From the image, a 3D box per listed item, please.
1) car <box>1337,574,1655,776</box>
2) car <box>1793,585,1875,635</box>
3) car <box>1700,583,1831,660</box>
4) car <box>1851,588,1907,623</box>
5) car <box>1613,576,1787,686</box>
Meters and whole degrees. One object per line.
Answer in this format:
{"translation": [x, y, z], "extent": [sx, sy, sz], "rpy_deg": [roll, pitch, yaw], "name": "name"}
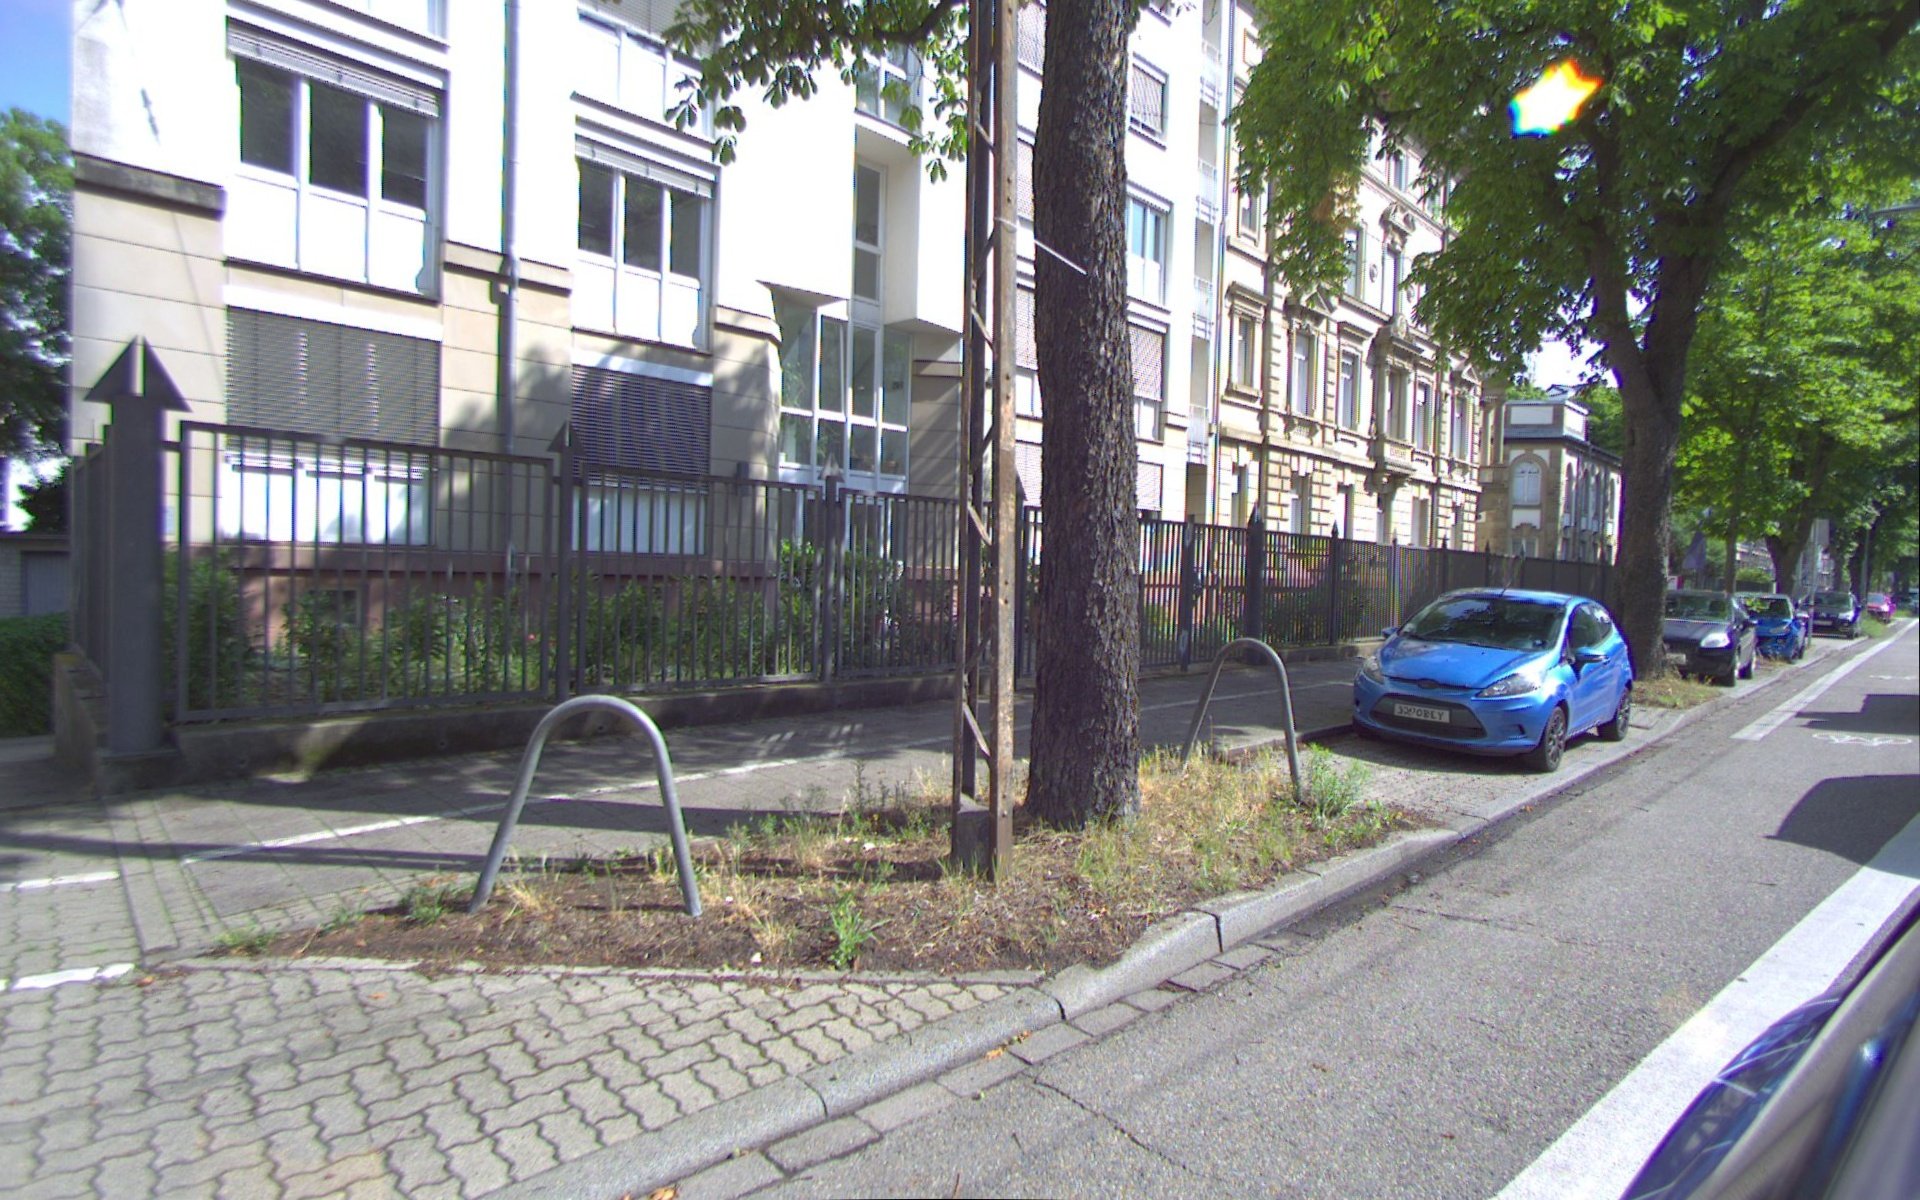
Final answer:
{"translation": [5.234, 0.552, 9.674], "extent": [1.639, 1.472, 3.639], "rpy_deg": [5, 4, 45], "name": "car"}
{"translation": [31.012, 0.313, 35.874], "extent": [4.131, 1.549, 1.772], "rpy_deg": [0, 5, -44], "name": "car"}
{"translation": [18.001, 0.414, 22.563], "extent": [3.861, 1.469, 1.722], "rpy_deg": [0, 5, -44], "name": "car"}
{"translation": [46.982, 0.244, 51.723], "extent": [4.131, 1.591, 1.772], "rpy_deg": [0, 5, -44], "name": "car"}
{"translation": [12.380, 0.441, 16.871], "extent": [3.562, 1.526, 1.643], "rpy_deg": [0, 4, -43], "name": "car"}
